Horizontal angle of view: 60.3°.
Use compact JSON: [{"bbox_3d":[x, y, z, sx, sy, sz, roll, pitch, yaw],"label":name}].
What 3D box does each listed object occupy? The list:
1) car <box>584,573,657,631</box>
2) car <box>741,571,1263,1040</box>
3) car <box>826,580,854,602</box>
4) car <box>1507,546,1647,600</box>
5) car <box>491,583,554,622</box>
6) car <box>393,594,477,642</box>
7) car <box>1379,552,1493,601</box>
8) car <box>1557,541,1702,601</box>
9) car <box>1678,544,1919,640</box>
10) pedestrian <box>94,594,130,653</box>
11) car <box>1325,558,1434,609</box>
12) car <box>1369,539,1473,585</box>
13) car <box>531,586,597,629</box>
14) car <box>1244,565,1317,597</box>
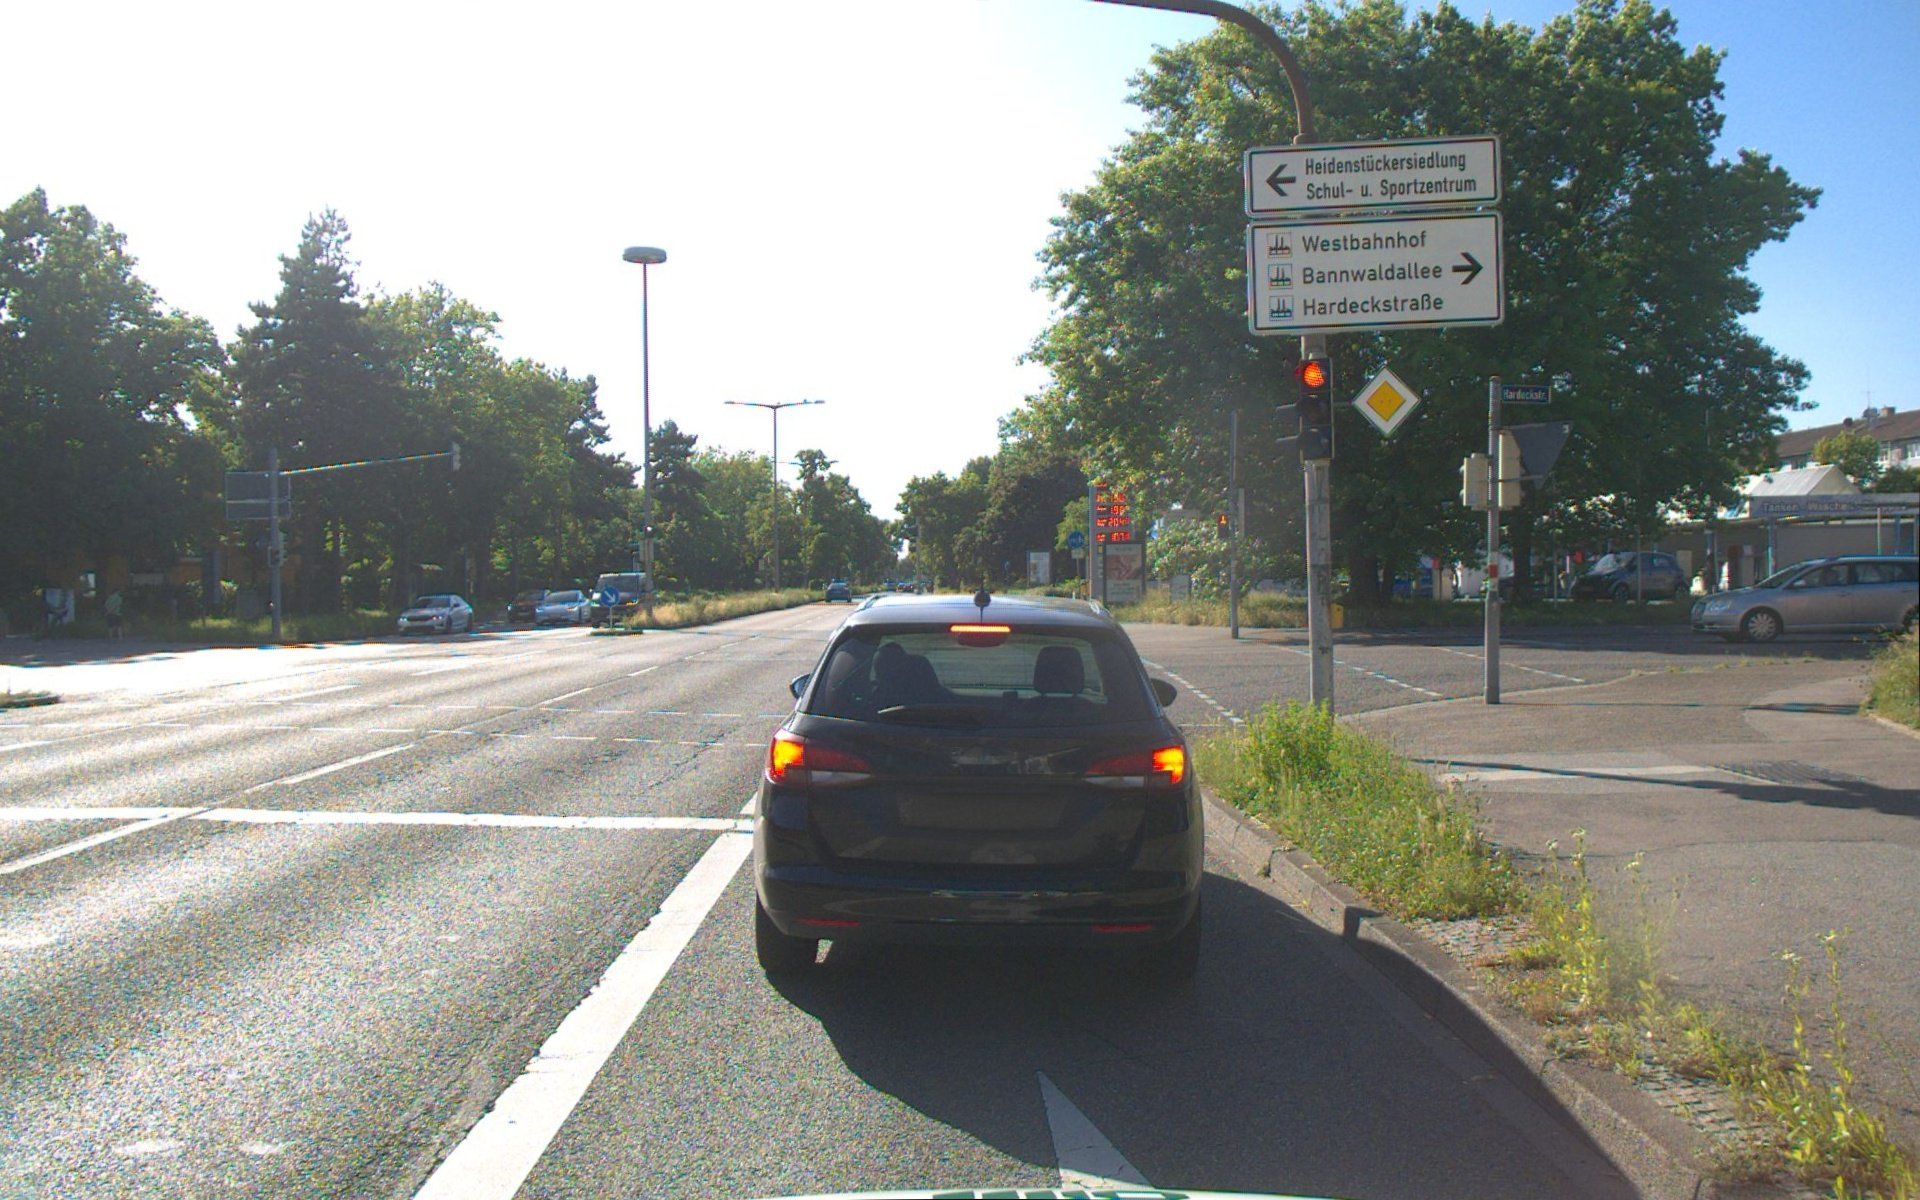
[{"bbox_3d":[-12.763,0.077,62.394,1.953,2.049,3.999,1,0,-1],"label":"car"},{"bbox_3d":[0.106,0.675,7.351,1.720,1.535,3.807,0,0,-1],"label":"car"},{"bbox_3d":[-9.021,-0.646,124.368,1.850,1.579,3.999,-1,0,-1],"label":"car"},{"bbox_3d":[18.931,-0.818,50.764,3.779,1.508,1.794,1,0,-21],"label":"car"},{"bbox_3d":[-21.002,0.104,79.543,1.953,1.780,3.999,-2,1,-1],"label":"car"},{"bbox_3d":[-19.727,0.660,62.307,1.826,1.713,4.259,1,0,-1],"label":"car"},{"bbox_3d":[16.610,-0.801,57.706,3.800,1.590,1.785,1,0,-33],"label":"car"},{"bbox_3d":[19.780,-0.832,48.873,3.779,1.640,1.794,1,0,-21],"label":"car"},{"bbox_3d":[15.508,-0.132,29.616,4.519,1.601,2.002,-1,-1,10],"label":"car"},{"bbox_3d":[-27.112,0.744,52.863,0.828,1.867,0.550,-1,0,3],"label":"pedestrian"},{"bbox_3d":[15.255,-0.581,60.115,3.668,1.714,1.689,1,0,-28],"label":"car"},{"bbox_3d":[18.387,-1.495,66.074,3.638,1.714,1.703,1,0,-4],"label":"car"},{"bbox_3d":[-16.792,0.312,70.308,1.826,1.713,3.999,1,0,-1],"label":"car"},{"bbox_3d":[17.957,-1.060,92.741,3.638,1.714,1.703,1,0,-4],"label":"car"}]
